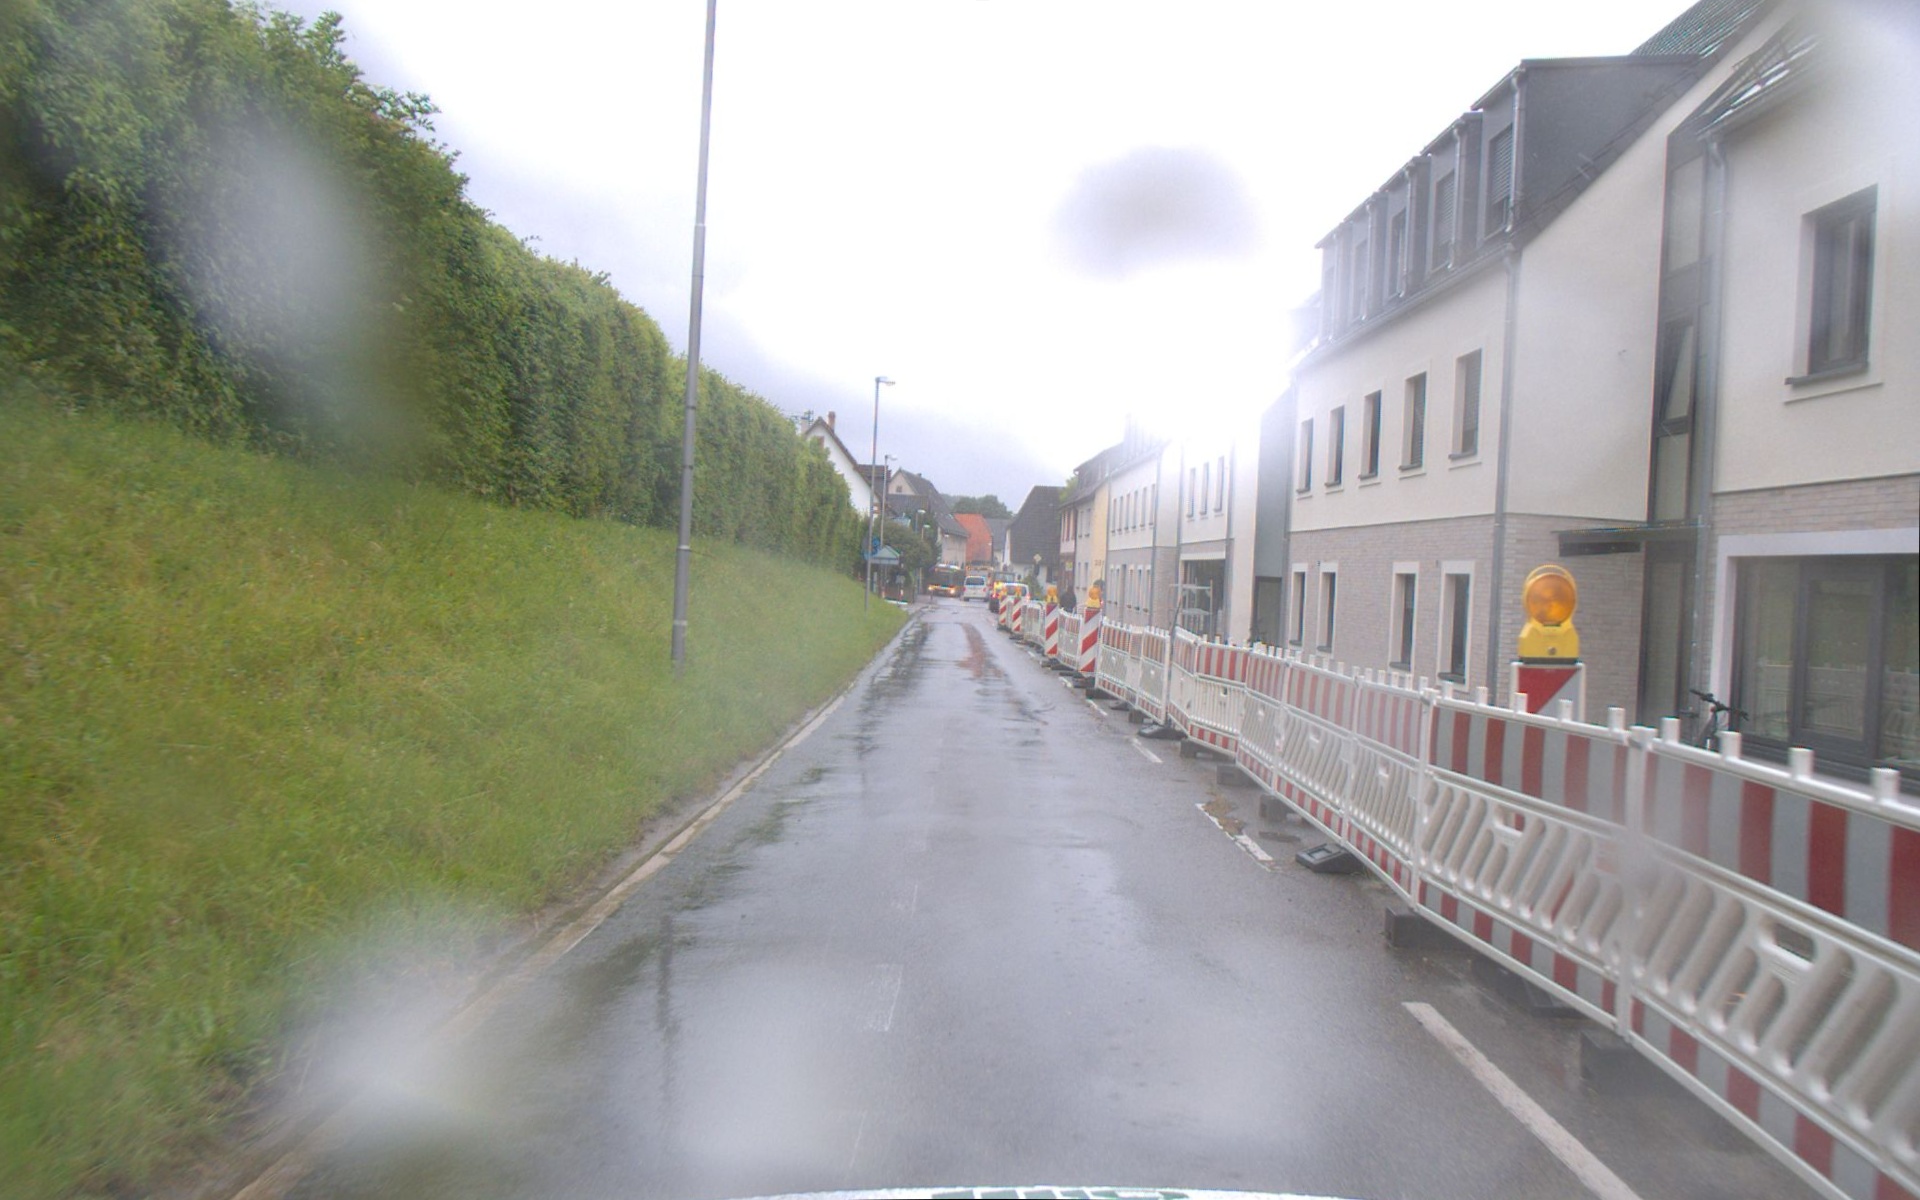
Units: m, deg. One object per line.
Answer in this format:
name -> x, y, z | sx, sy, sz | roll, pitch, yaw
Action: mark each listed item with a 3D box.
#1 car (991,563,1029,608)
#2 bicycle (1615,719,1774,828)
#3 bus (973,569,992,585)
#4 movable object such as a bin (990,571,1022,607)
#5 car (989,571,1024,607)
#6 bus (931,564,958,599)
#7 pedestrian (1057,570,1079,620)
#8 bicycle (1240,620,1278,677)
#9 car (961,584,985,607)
car -> 2.848, -0.819, 95.053 | 1.953, 2.416, 4.095 | -3, 0, 0
bicycle -> 6.231, 1.450, 14.124 | 0.486, 0.709, 1.739 | -3, 0, -3
bus -> 2.207, -2.261, 162.132 | 1.757, 1.434, 4.001 | 4, 0, 2
movable object such as a bin -> 3.017, -0.741, 108.536 | 1.953, 2.210, 4.001 | -3, 0, 1
car -> 2.817, -0.659, 101.002 | 1.953, 2.048, 4.000 | -3, 0, 0
bus -> -1.495, -1.740, 160.378 | 2.195, 3.156, 7.031 | 4, 0, 1
pedestrian -> 3.943, -0.189, 60.474 | 0.652, 1.786, 0.812 | -3, 0, -1
bicycle -> 6.954, 1.118, 38.526 | 0.507, 1.241, 1.789 | 4, 0, 1
car -> 1.015, -0.372, 131.680 | 1.781, 1.670, 4.095 | -3, 1, 0
